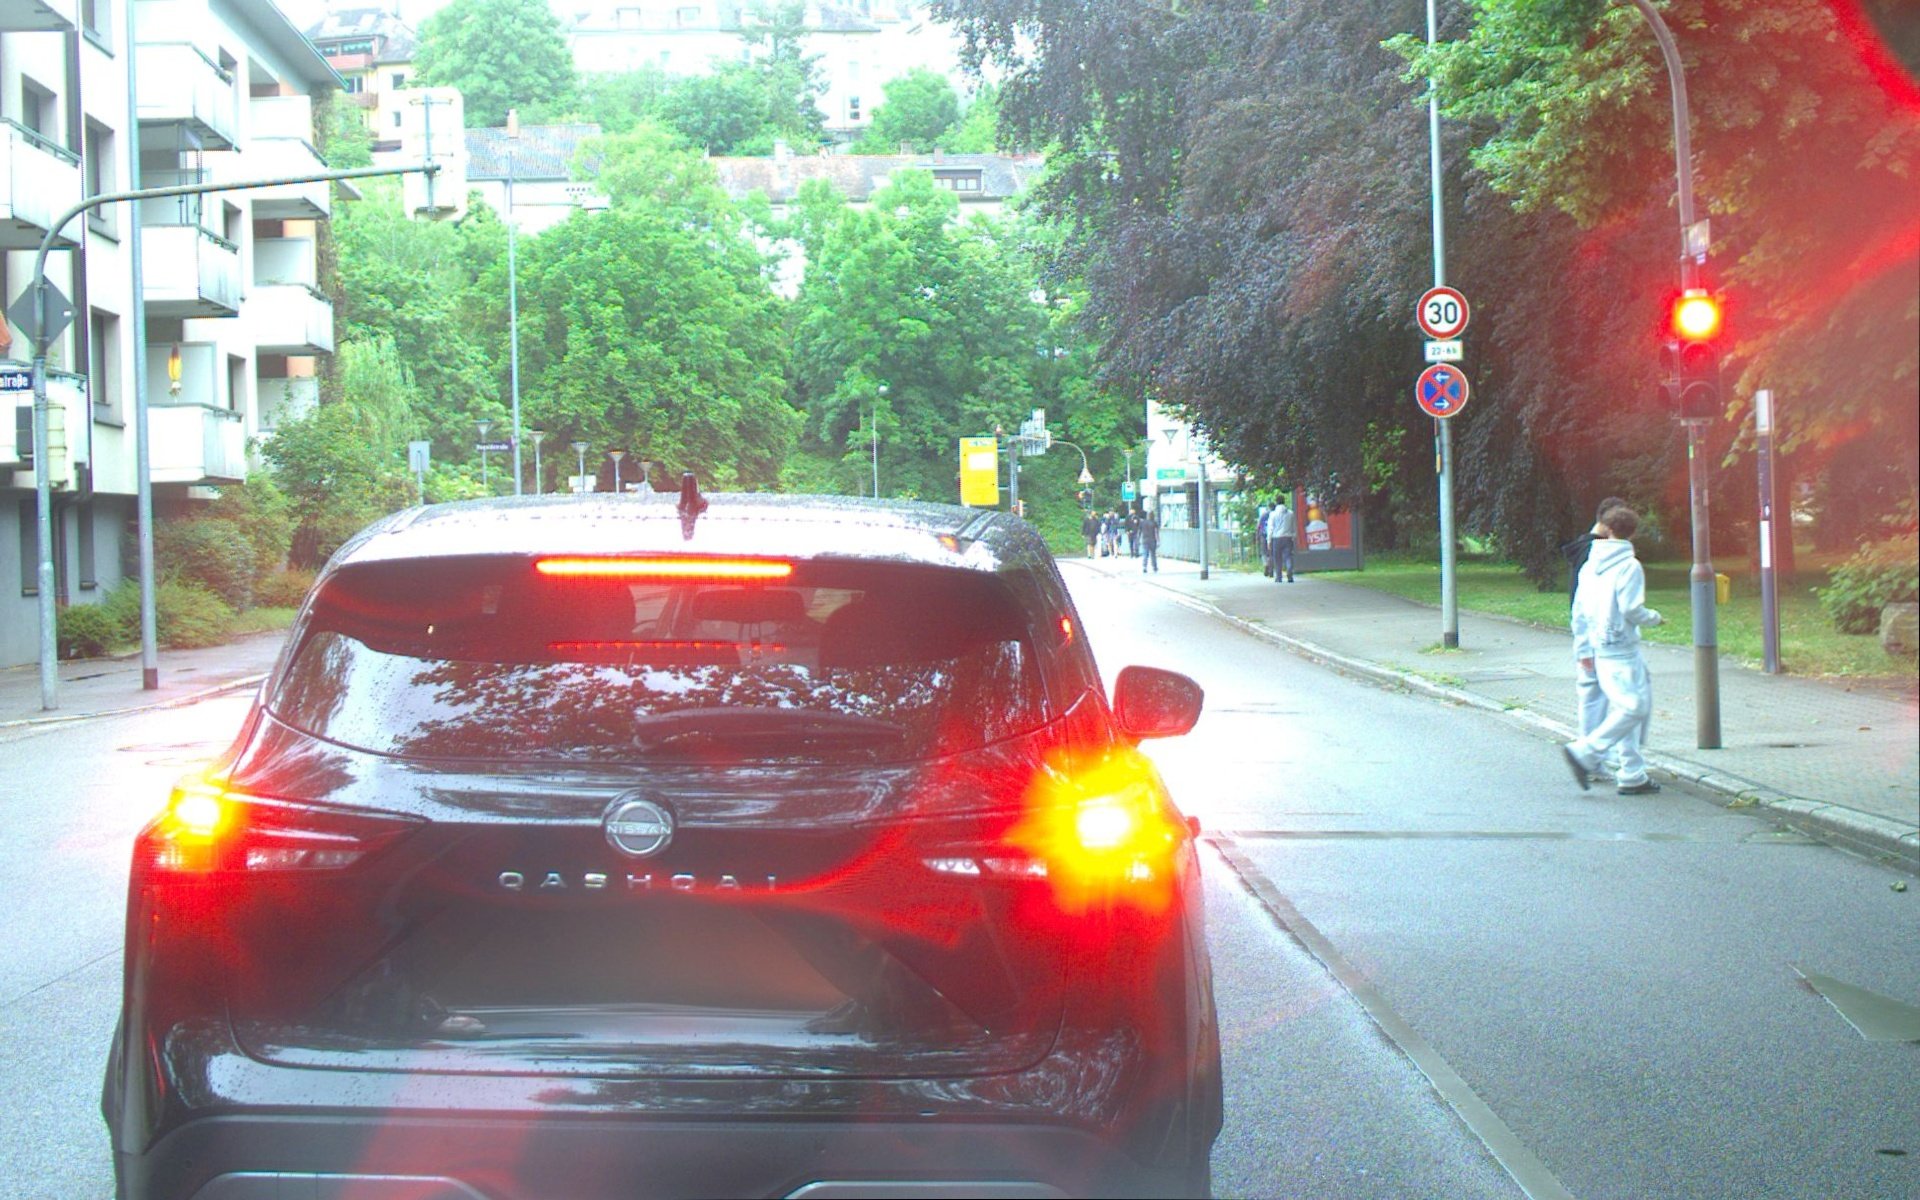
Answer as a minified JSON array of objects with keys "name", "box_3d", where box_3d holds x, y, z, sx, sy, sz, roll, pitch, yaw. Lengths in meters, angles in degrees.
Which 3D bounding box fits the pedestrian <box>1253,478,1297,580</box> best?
[{"name":"pedestrian","box_3d":[6.291,-1.419,68.621,0.725,2.007,0.851,-2,1,0]}]

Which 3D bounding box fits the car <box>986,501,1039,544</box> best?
[{"name":"car","box_3d":[2.269,-3.292,146.659,1.994,1.729,3.999,1,1,4]}]

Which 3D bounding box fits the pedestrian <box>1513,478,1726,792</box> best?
[{"name":"pedestrian","box_3d":[4.103,0.206,21.421,1.035,1.869,0.658,-4,1,-11]}]

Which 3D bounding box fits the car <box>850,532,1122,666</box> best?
[{"name":"car","box_3d":[0.386,-0.045,41.259,1.827,1.399,4.646,-2,1,19]}]

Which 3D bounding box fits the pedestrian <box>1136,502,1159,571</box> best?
[{"name":"pedestrian","box_3d":[4.958,-1.677,91.133,0.508,1.796,0.619,-2,1,-1]}]

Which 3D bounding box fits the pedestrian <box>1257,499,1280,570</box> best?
[{"name":"pedestrian","box_3d":[6.590,-1.395,73.491,0.390,1.497,0.559,-2,1,0]}]

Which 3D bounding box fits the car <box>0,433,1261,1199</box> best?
[{"name":"car","box_3d":[-0.539,0.554,7.013,1.913,1.674,4.000,0,1,0]}]

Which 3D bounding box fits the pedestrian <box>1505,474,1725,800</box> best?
[{"name":"pedestrian","box_3d":[3.931,0.213,20.669,1.035,1.869,0.658,-4,1,-11]}]

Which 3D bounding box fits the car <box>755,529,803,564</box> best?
[{"name":"car","box_3d":[-8.267,-2.469,157.316,1.970,1.527,3.968,-2,1,-1]}]

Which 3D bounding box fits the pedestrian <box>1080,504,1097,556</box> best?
[{"name":"pedestrian","box_3d":[4.489,-2.463,120.393,0.508,1.796,0.619,-2,1,-1]}]

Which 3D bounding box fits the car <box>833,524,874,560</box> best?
[{"name":"car","box_3d":[-4.661,-2.550,150.847,1.634,1.527,3.968,-2,1,-1]}]

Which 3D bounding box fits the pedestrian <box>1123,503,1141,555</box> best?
[{"name":"pedestrian","box_3d":[6.028,-2.481,120.240,0.508,1.796,0.619,-2,1,-2]}]

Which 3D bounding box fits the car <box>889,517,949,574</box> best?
[{"name":"car","box_3d":[-1.170,-1.580,98.630,1.634,1.527,3.968,-2,1,-1]}]

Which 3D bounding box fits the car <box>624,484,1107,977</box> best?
[{"name":"car","box_3d":[-0.362,0.437,14.353,1.698,1.739,3.641,-2,1,-1]}]

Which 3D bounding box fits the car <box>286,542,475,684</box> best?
[{"name":"car","box_3d":[-6.840,0.112,40.900,1.795,1.528,3.868,-2,1,-4]}]

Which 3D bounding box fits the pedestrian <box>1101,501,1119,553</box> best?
[{"name":"pedestrian","box_3d":[5.231,-2.529,119.577,0.508,1.796,0.659,-2,1,-2]}]

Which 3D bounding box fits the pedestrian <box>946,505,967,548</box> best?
[{"name":"pedestrian","box_3d":[-0.141,-2.877,135.164,0.509,1.667,0.658,-2,1,27]}]
